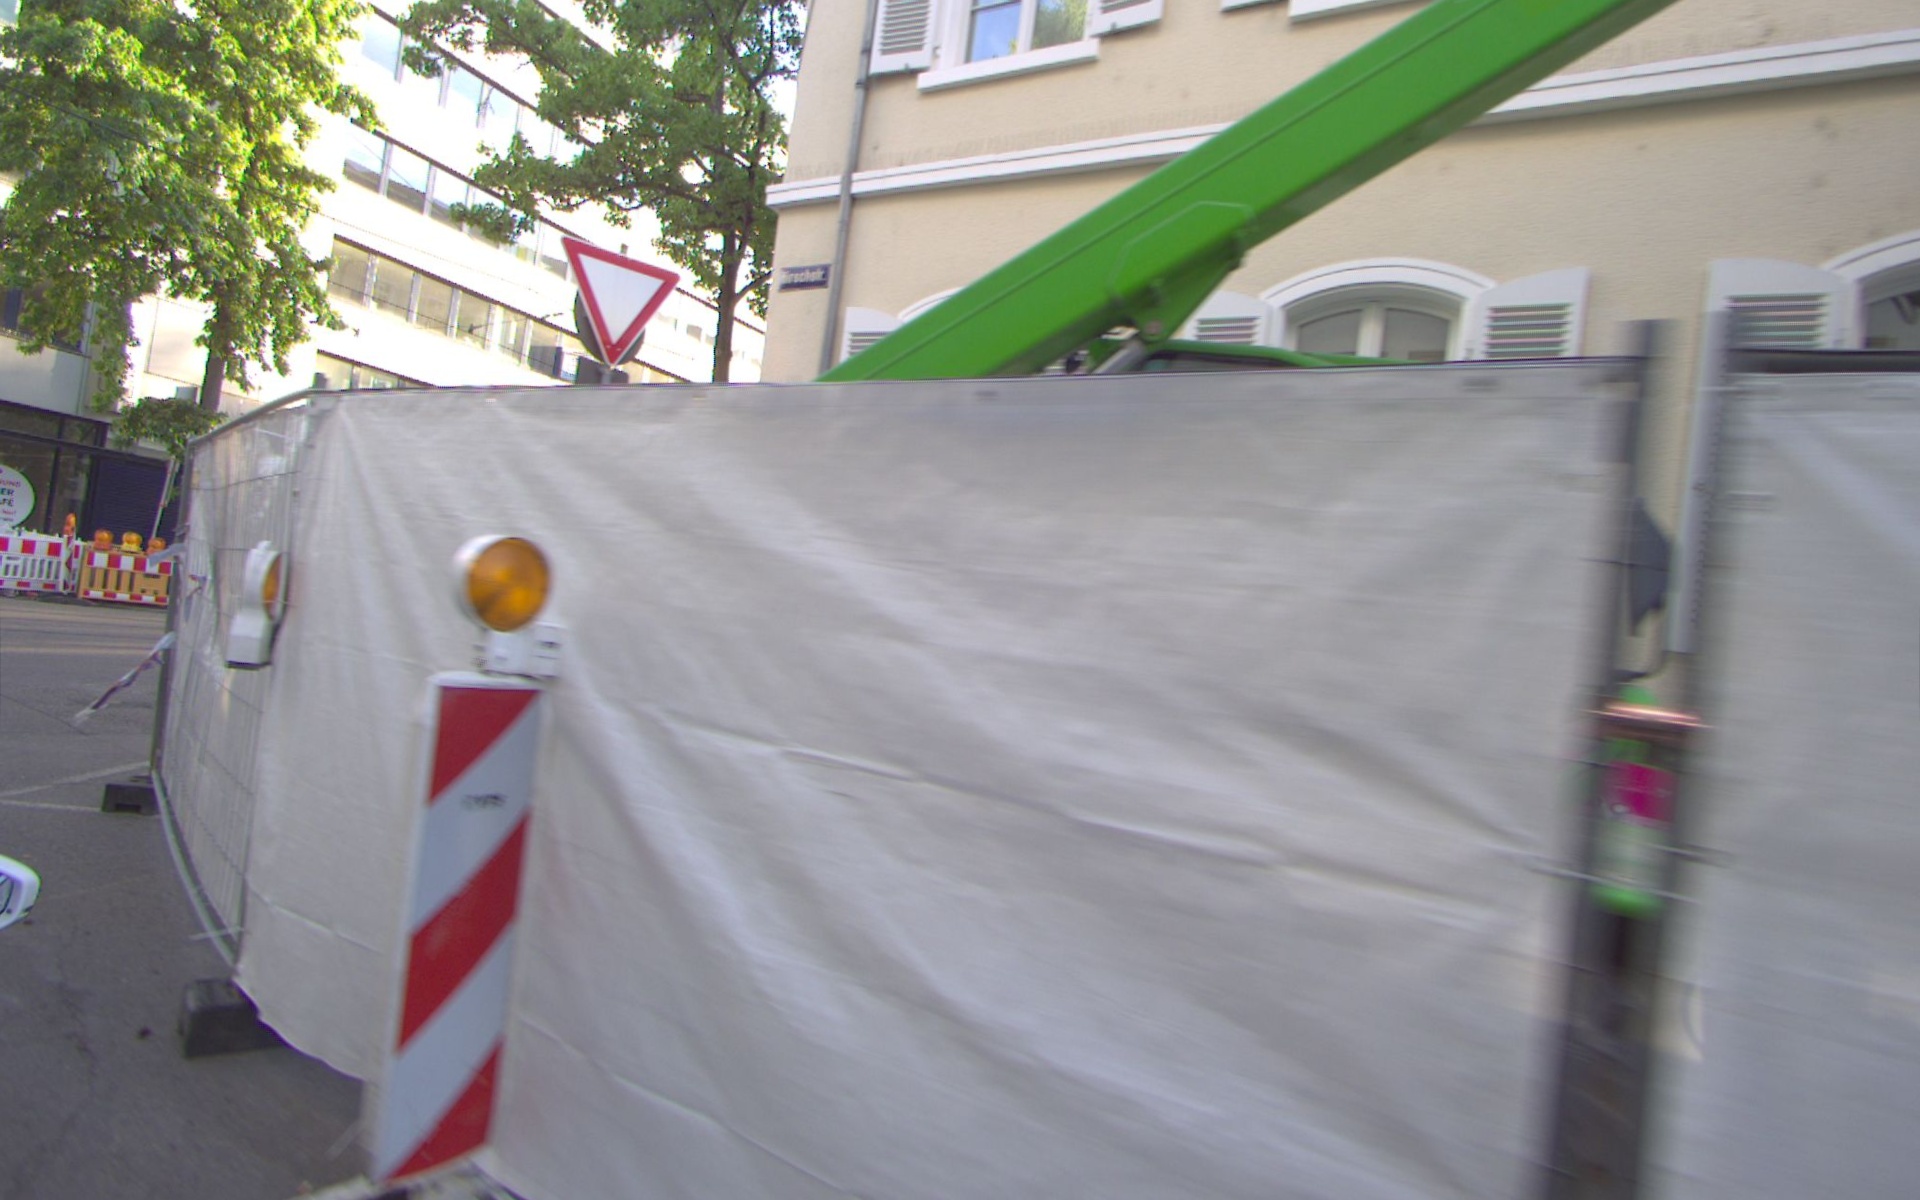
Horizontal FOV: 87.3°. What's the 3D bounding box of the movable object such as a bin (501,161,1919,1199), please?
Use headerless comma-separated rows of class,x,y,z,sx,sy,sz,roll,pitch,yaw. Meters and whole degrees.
movable object such as a bin,0.948,0.553,3.840,4.374,2.873,2.610,7,-1,30

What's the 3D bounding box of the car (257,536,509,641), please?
car,-14.141,-0.199,24.997,1.987,1.795,4.944,9,-2,30
